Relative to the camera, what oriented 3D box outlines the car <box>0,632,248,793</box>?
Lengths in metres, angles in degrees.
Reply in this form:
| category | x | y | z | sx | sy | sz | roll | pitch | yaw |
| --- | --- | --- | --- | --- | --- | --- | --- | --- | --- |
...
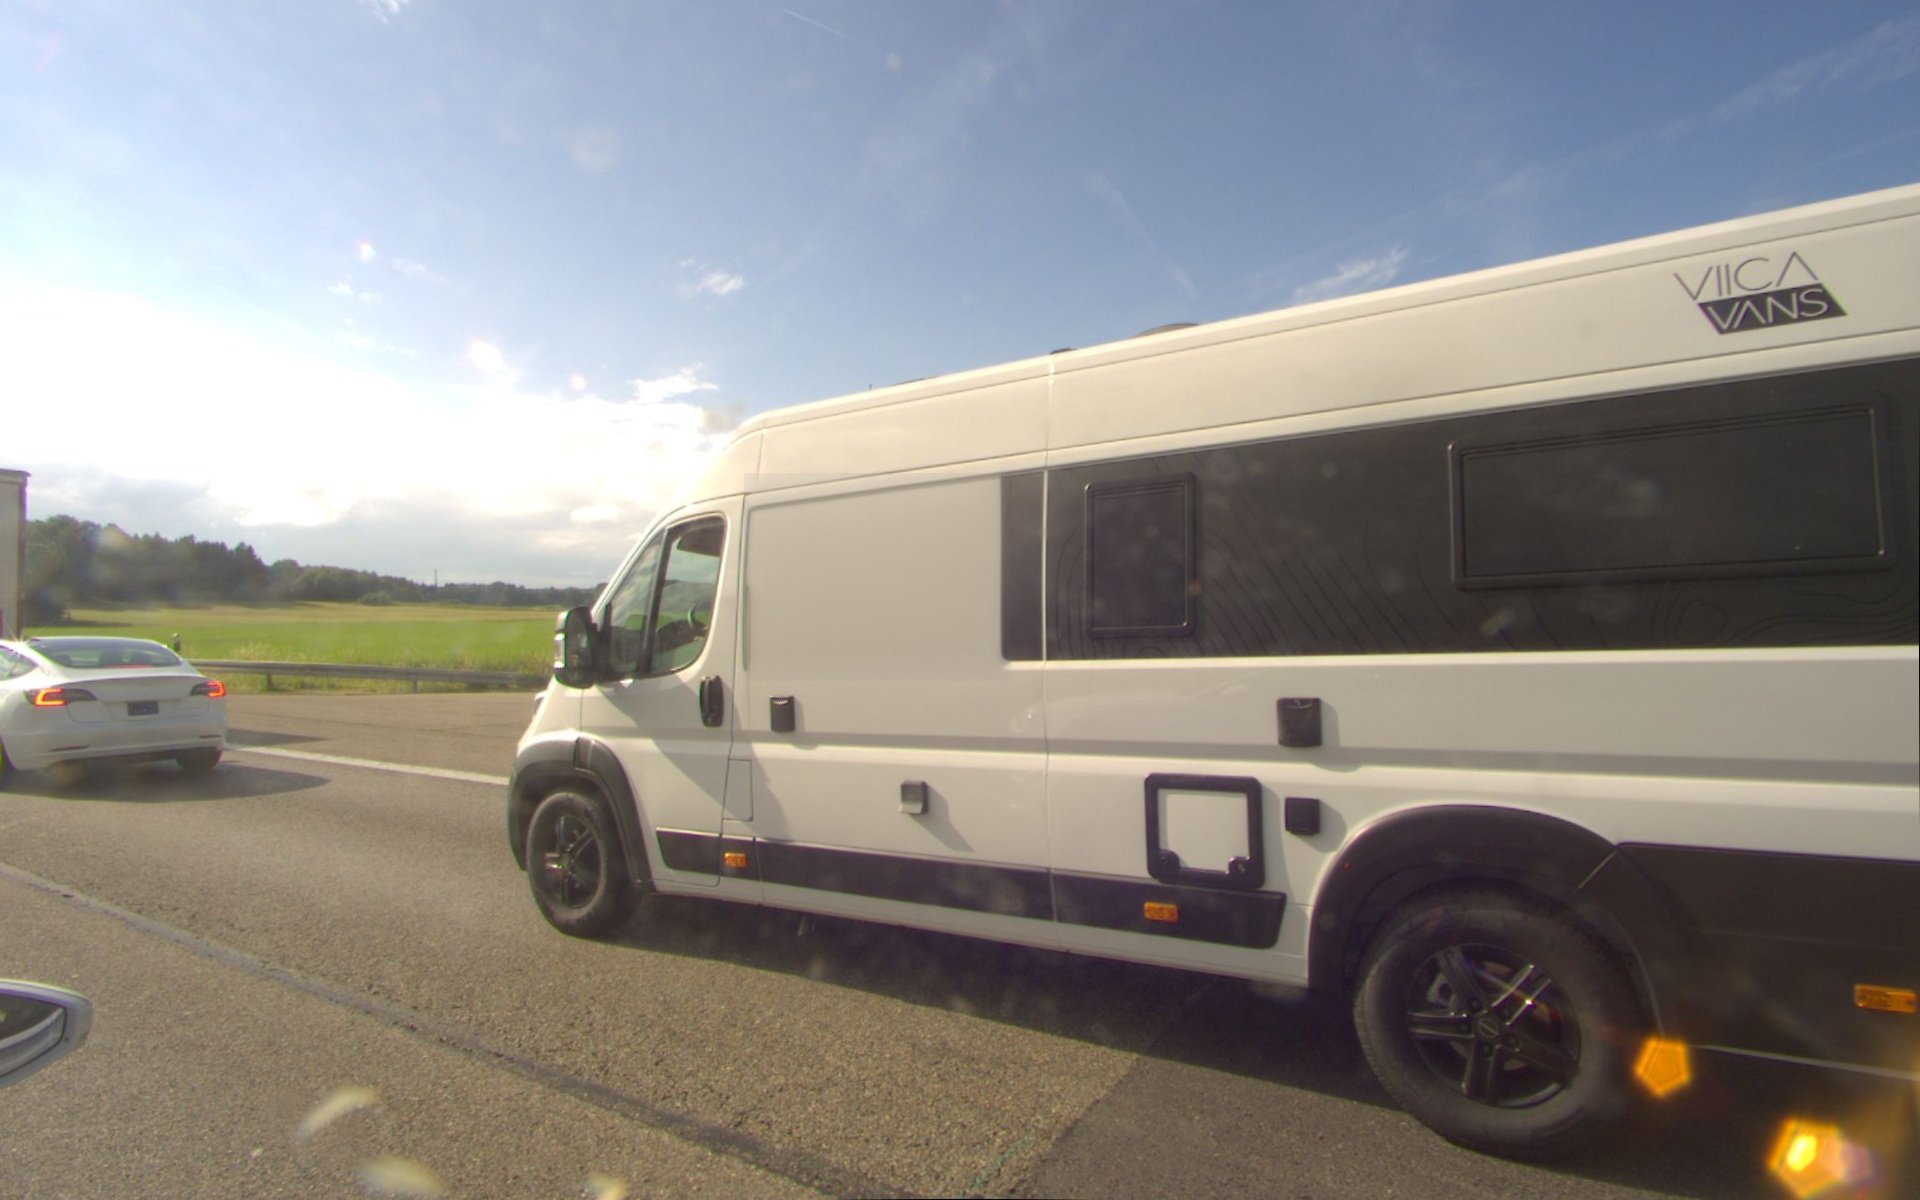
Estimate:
| category | x | y | z | sx | sy | sz | roll | pitch | yaw |
| --- | --- | --- | --- | --- | --- | --- | --- | --- | --- |
| car | -9.760 | 1.066 | 10.801 | 4.371 | 1.412 | 1.786 | -1 | -1 | 31 |

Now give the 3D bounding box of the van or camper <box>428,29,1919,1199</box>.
| category | x | y | z | sx | sy | sz | roll | pitch | yaw |
| --- | --- | --- | --- | --- | --- | --- | --- | --- | --- |
| van or camper | 0.467 | 0.190 | 4.483 | 6.241 | 2.716 | 2.211 | -1 | -1 | 32 |

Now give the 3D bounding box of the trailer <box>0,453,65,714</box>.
| category | x | y | z | sx | sy | sz | roll | pitch | yaw |
| --- | --- | --- | --- | --- | --- | --- | --- | --- | --- |
| trailer | -20.827 | -0.046 | 18.465 | 13.182 | 4.061 | 3.125 | -2 | -2 | 33 |
